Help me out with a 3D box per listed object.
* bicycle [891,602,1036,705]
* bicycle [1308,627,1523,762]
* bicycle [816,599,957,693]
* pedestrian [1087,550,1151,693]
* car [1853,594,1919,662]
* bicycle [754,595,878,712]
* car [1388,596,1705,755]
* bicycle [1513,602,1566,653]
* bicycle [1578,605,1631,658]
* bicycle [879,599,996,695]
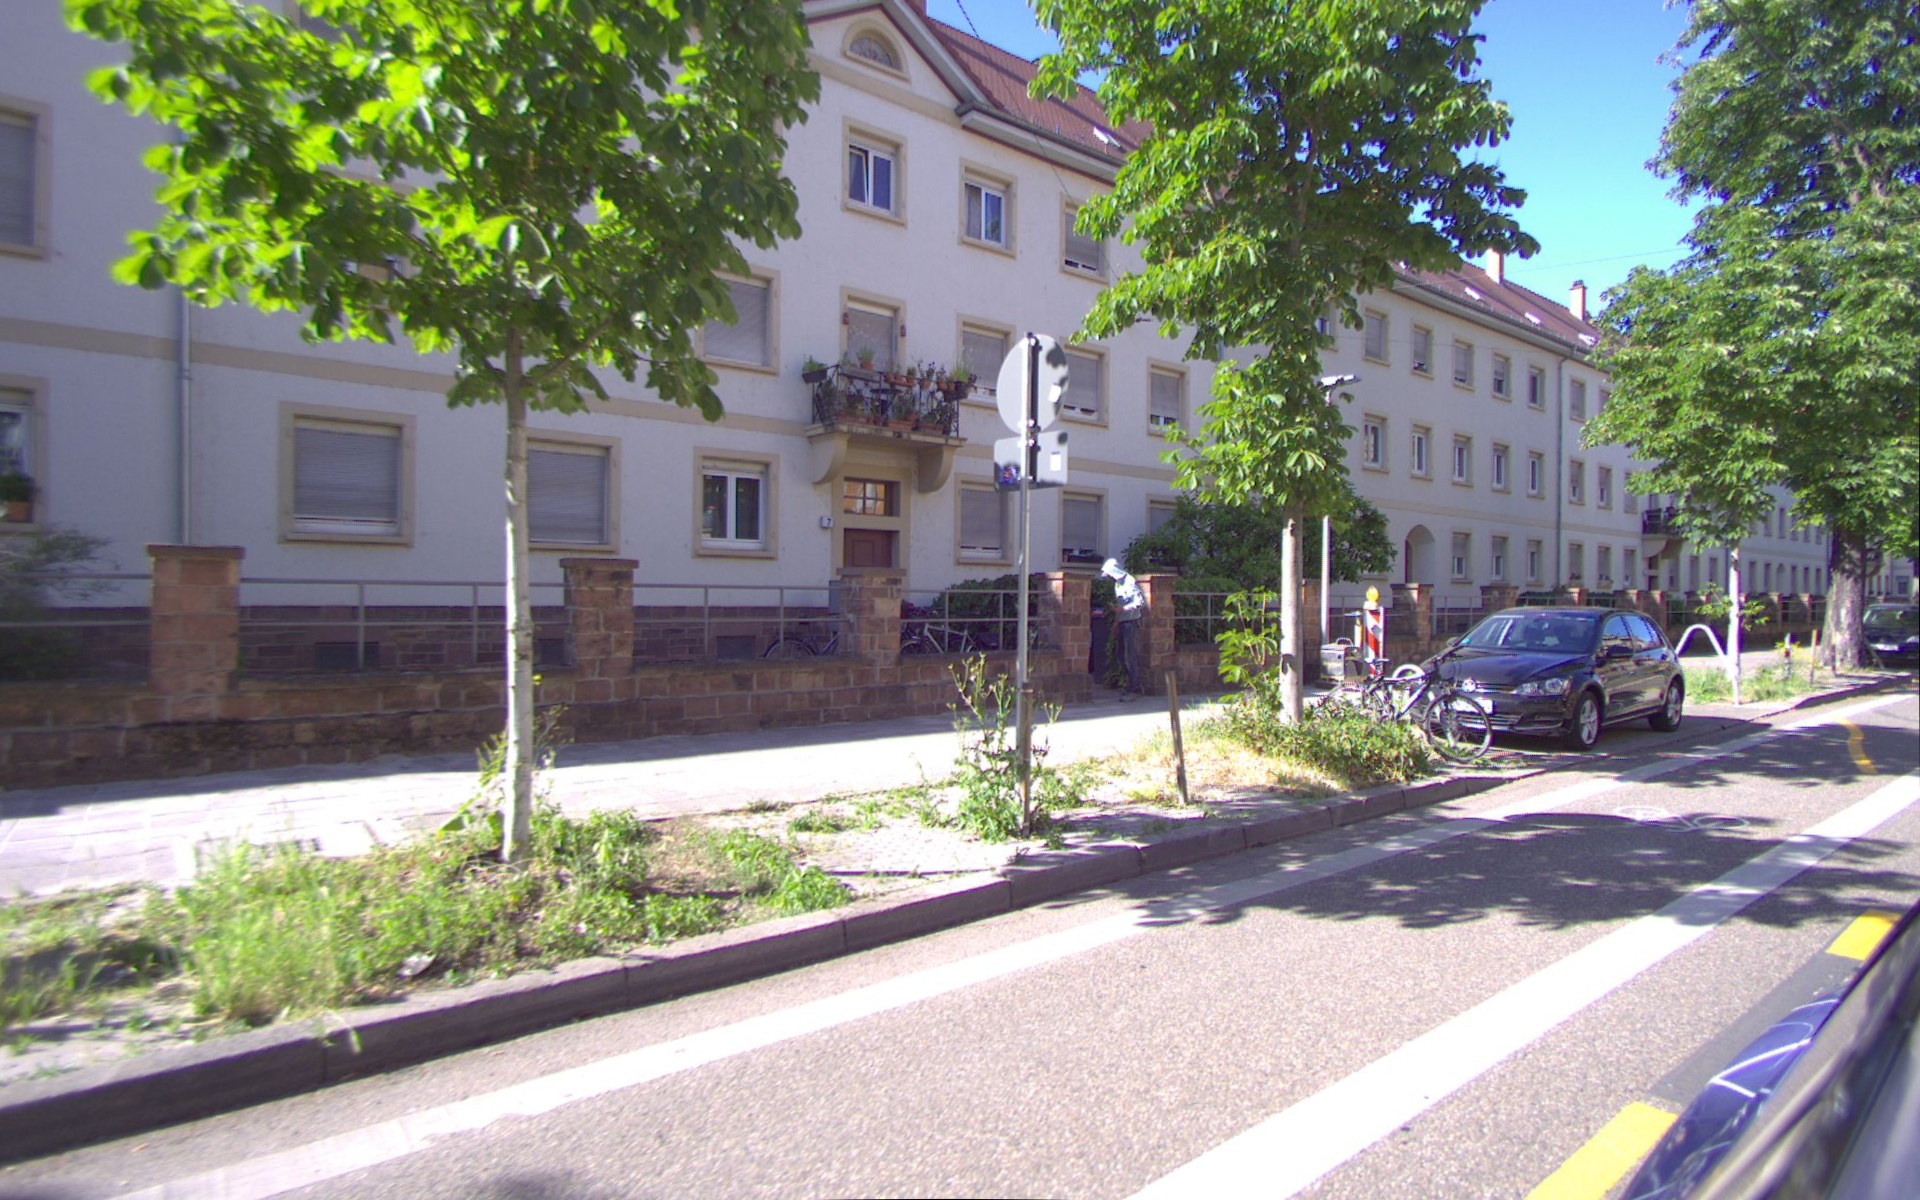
[{"bbox_3d":[0.072,0.613,12.258,1.882,1.167,0.449,0,0,-38],"label":"bicycle"},{"bbox_3d":[4.399,0.864,9.881,0.610,1.080,1.795,1,2,-42],"label":"bicycle"},{"bbox_3d":[-0.951,0.583,13.419,1.882,1.167,0.546,0,-1,-38],"label":"bicycle"},{"bbox_3d":[1.998,0.270,12.785,0.568,1.747,0.766,0,-1,-9],"label":"pedestrian"},{"bbox_3d":[22.987,0.651,24.251,4.170,1.492,1.724,0,1,-40],"label":"car"},{"bbox_3d":[-1.631,0.586,11.571,1.397,1.277,0.349,0,-1,-34],"label":"bicycle"},{"bbox_3d":[6.791,0.723,11.572,3.970,1.482,1.792,0,1,-38],"label":"car"},{"bbox_3d":[14.648,0.681,25.563,1.710,1.236,0.544,0,1,-38],"label":"bicycle"},{"bbox_3d":[15.839,0.749,24.865,1.710,1.236,0.544,0,1,-38],"label":"bicycle"},{"bbox_3d":[-0.269,0.573,12.953,1.545,1.167,0.442,0,-1,-38],"label":"bicycle"}]
